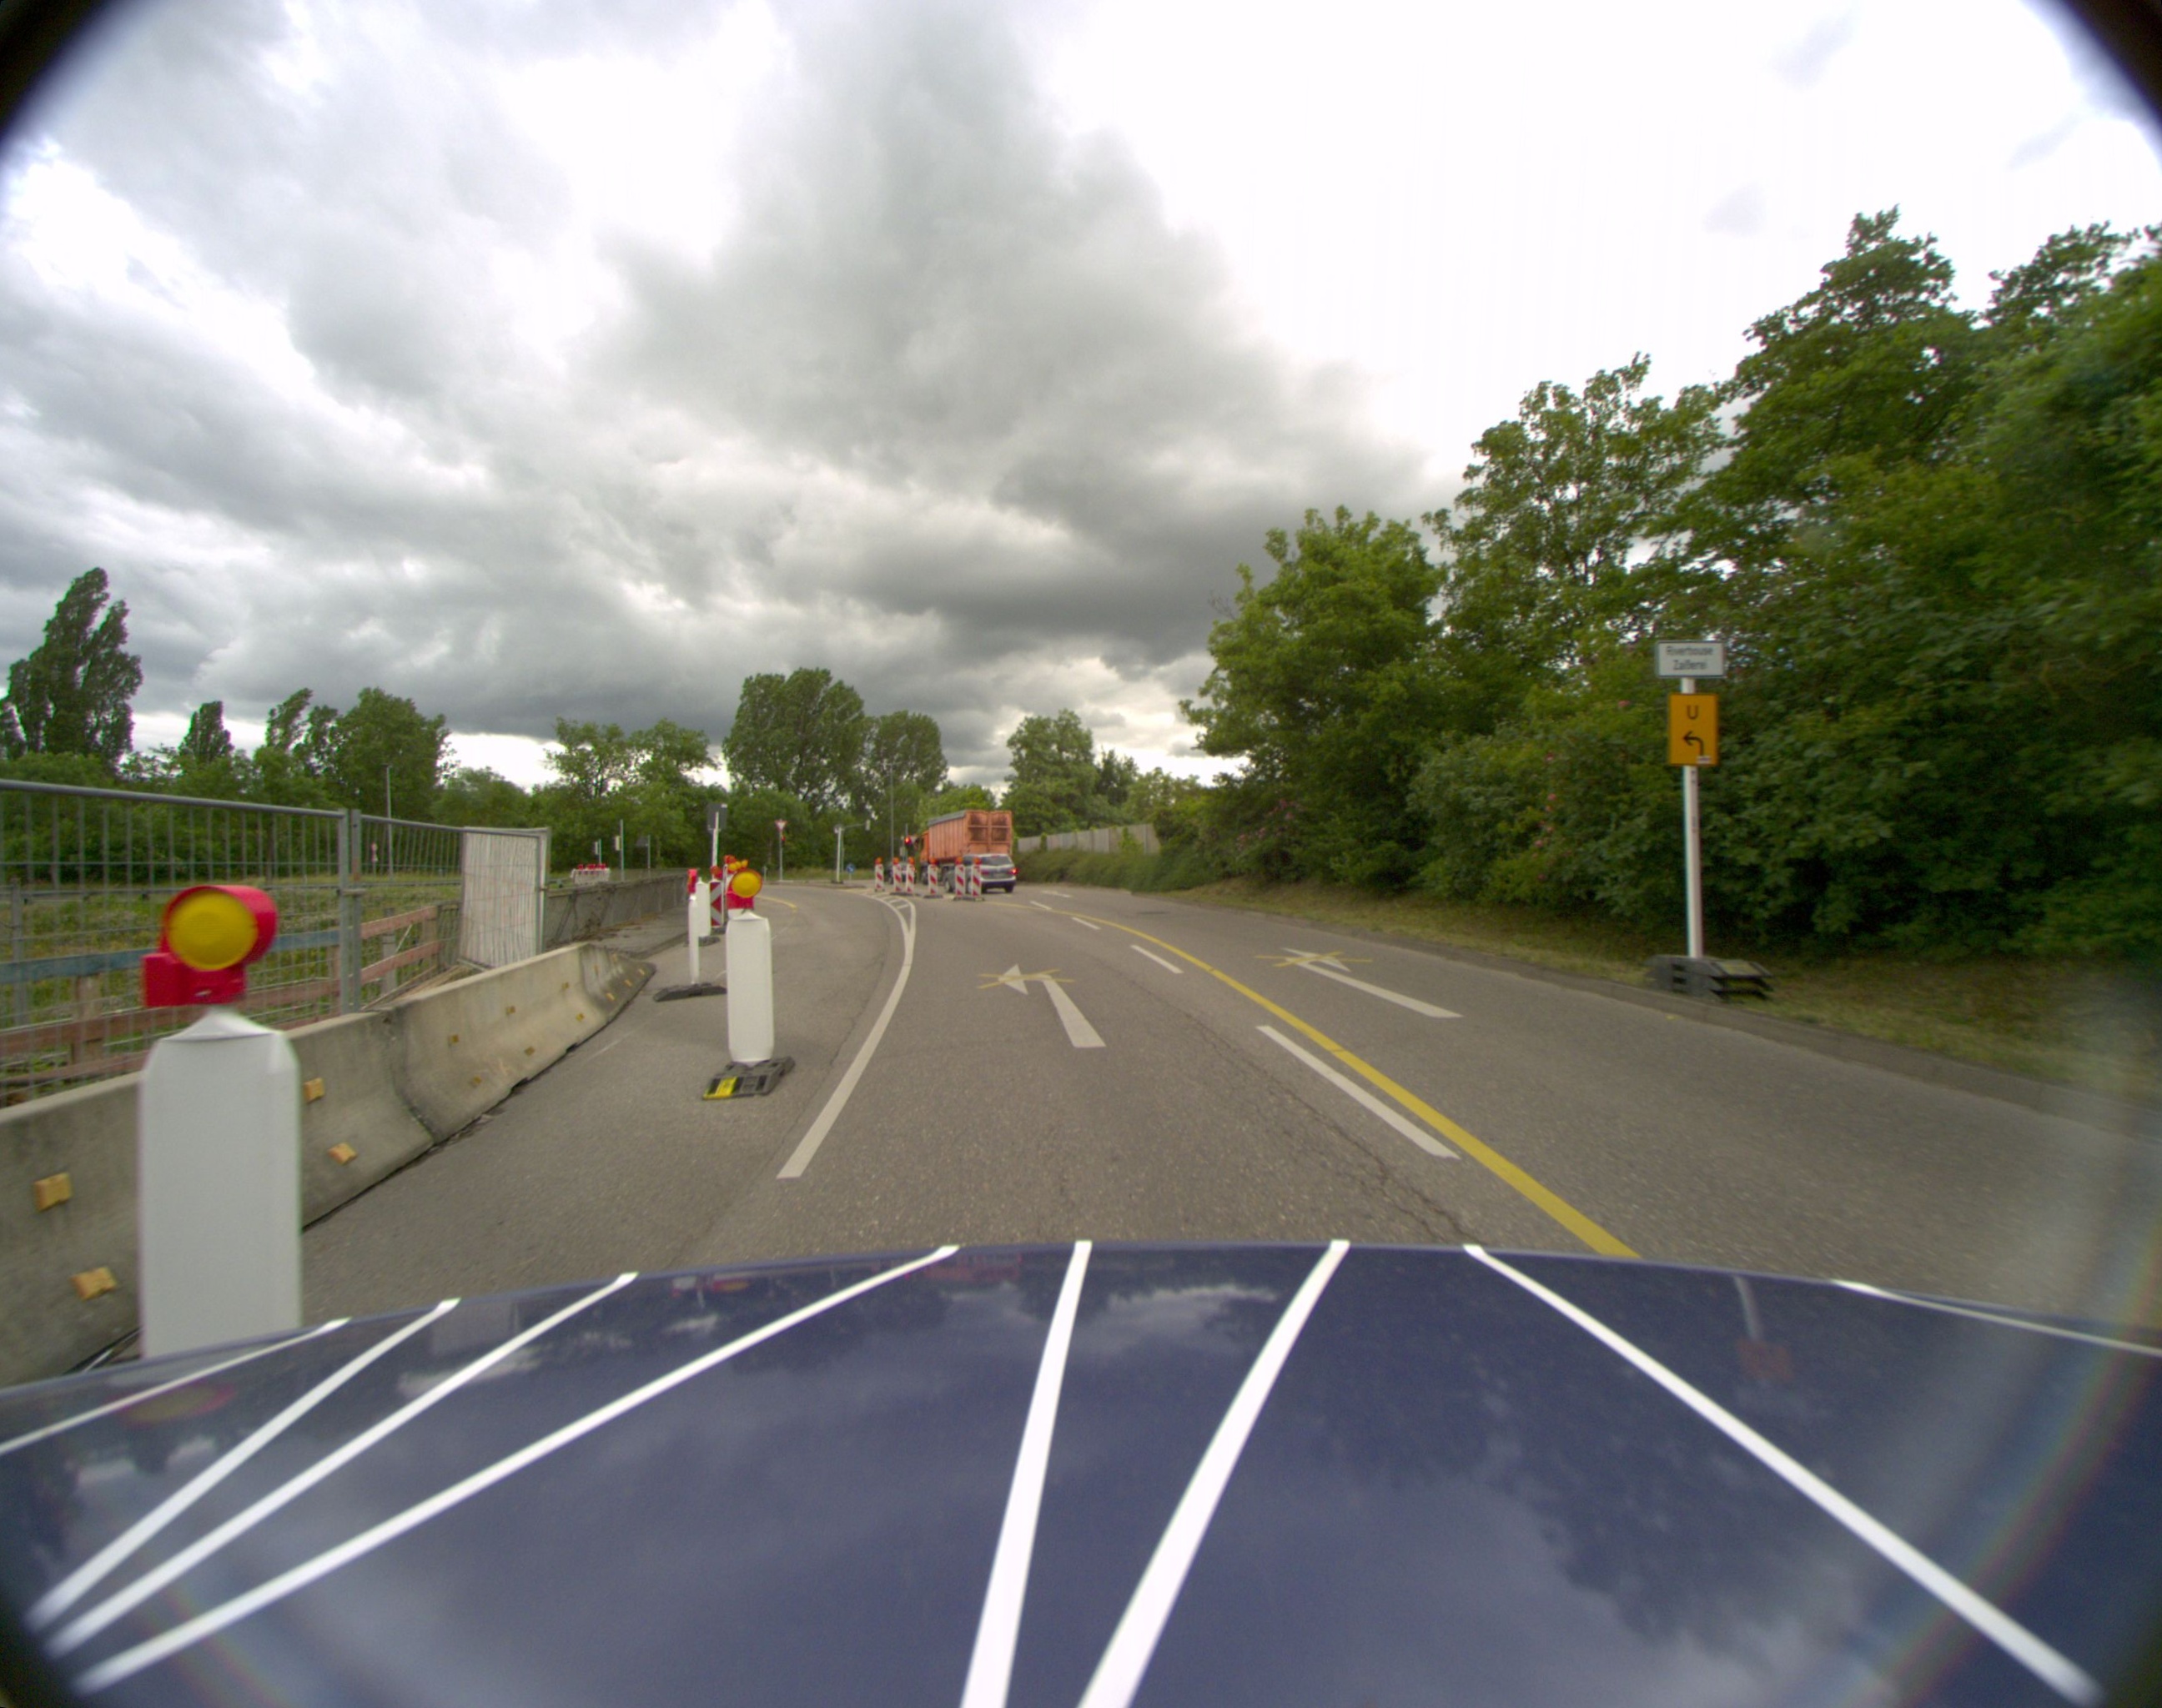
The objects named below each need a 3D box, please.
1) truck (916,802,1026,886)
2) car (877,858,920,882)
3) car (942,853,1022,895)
[{"bbox_3d":[-6.454,-0.487,42.756,3.125,4.196,9.772,-1,0,-27],"label":"truck"},{"bbox_3d":[-12.533,1.124,52.176,1.646,1.542,3.779,2,-2,-34],"label":"car"},{"bbox_3d":[-4.119,0.756,30.914,1.640,1.536,4.340,-2,1,-30],"label":"car"}]
